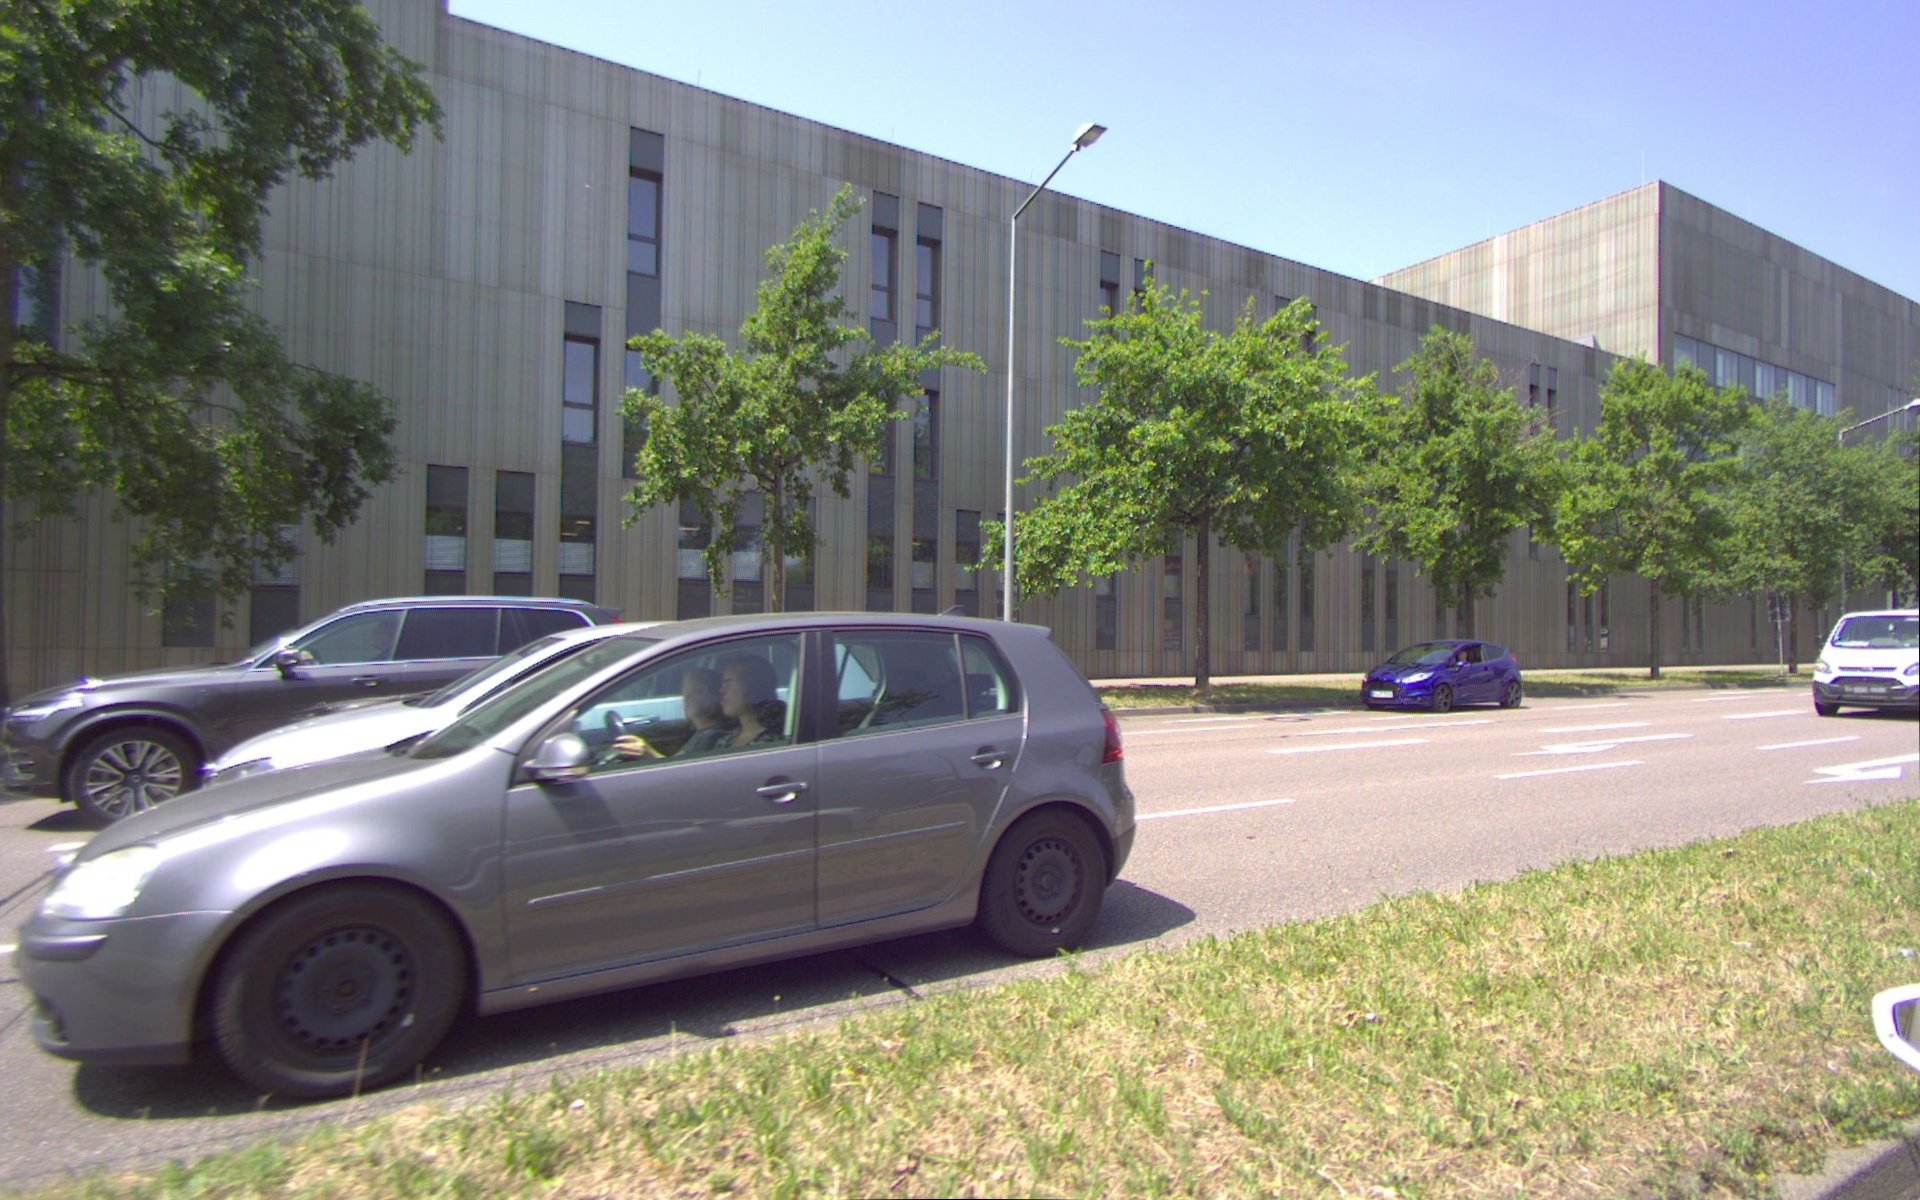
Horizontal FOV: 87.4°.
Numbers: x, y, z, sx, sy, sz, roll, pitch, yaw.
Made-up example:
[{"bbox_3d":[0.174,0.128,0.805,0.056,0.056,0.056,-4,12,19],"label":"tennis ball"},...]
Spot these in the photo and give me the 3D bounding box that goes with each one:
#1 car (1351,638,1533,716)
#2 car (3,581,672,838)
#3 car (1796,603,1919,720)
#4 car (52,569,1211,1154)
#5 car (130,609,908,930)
[{"bbox_3d":[10.165,1.547,21.121,3.973,1.475,1.612,1,-2,-32],"label":"car"},{"bbox_3d":[-5.114,0.845,8.948,4.595,1.769,1.801,2,-3,-32],"label":"car"},{"bbox_3d":[18.162,1.145,19.177,4.842,2.019,1.900,2,-3,-31],"label":"car"},{"bbox_3d":[-1.021,0.743,4.379,4.010,1.485,1.802,1,-3,-30],"label":"car"},{"bbox_3d":[-2.541,0.864,6.501,4.099,1.479,1.756,2,-3,-32],"label":"car"}]
